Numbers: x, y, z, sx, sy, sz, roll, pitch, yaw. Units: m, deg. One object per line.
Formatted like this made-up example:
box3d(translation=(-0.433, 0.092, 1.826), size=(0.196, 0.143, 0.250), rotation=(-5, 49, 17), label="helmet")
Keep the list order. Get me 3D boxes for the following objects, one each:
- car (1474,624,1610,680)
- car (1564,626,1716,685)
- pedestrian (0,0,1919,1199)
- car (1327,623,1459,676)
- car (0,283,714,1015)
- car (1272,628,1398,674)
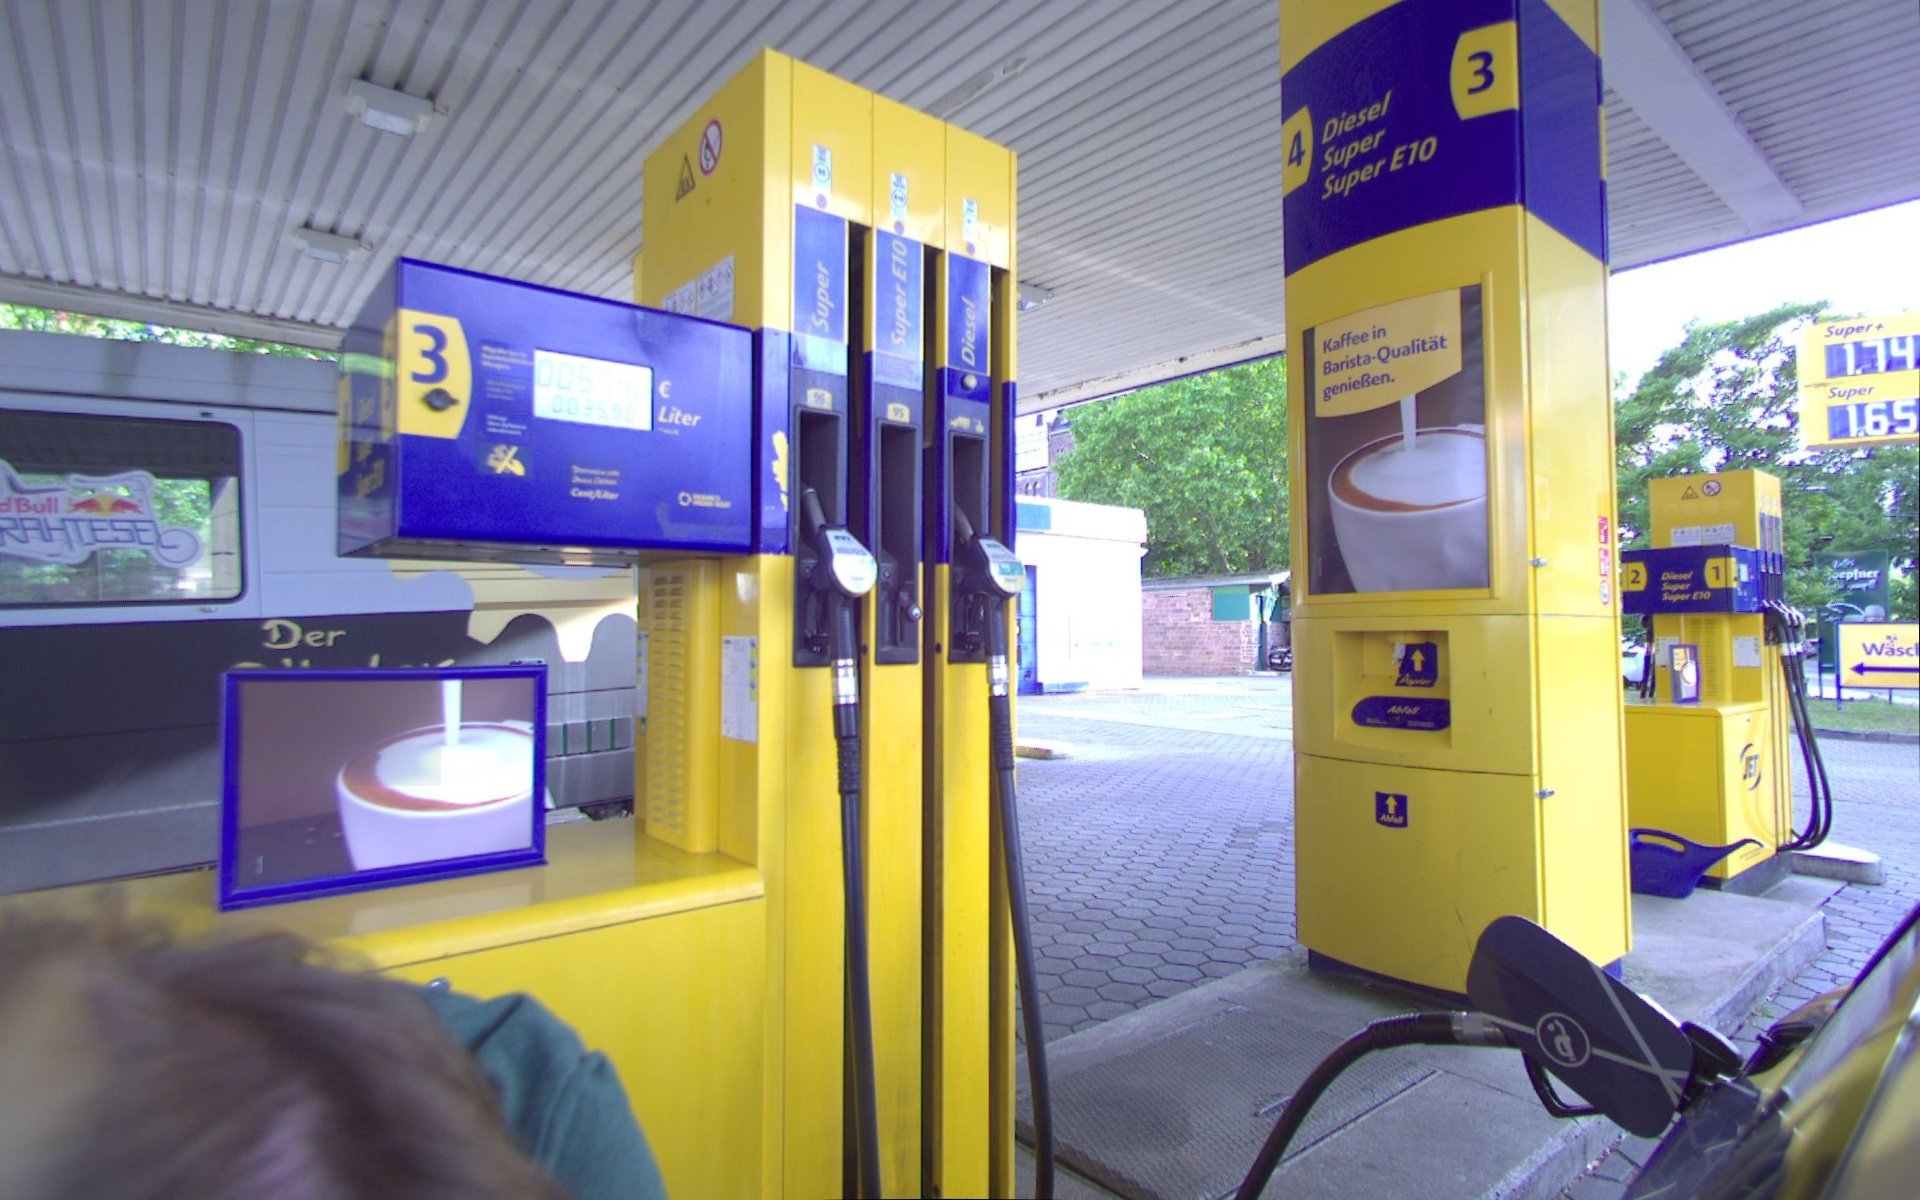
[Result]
box3d(translation=(17.766, 1.581, 30.849), size=(4.112, 1.606, 1.826), rotation=(2, -3, -31), label="car")
box3d(translation=(18.250, 1.489, 27.132), size=(4.112, 1.478, 1.826), rotation=(2, -3, -31), label="car")
box3d(translation=(-0.332, 0.527, 0.561), size=(0.975, 1.750, 1.182), rotation=(-2, 1, -36), label="pedestrian")
box3d(translation=(13.777, 1.572, 32.167), size=(4.112, 1.606, 1.826), rotation=(2, -3, -31), label="car")
box3d(translation=(-4.099, 0.194, 4.851), size=(5.248, 2.760, 2.201), rotation=(0, -1, -39), label="car")
box3d(translation=(12.637, 1.702, 34.030), size=(4.112, 1.453, 1.826), rotation=(2, -3, -31), label="car")
